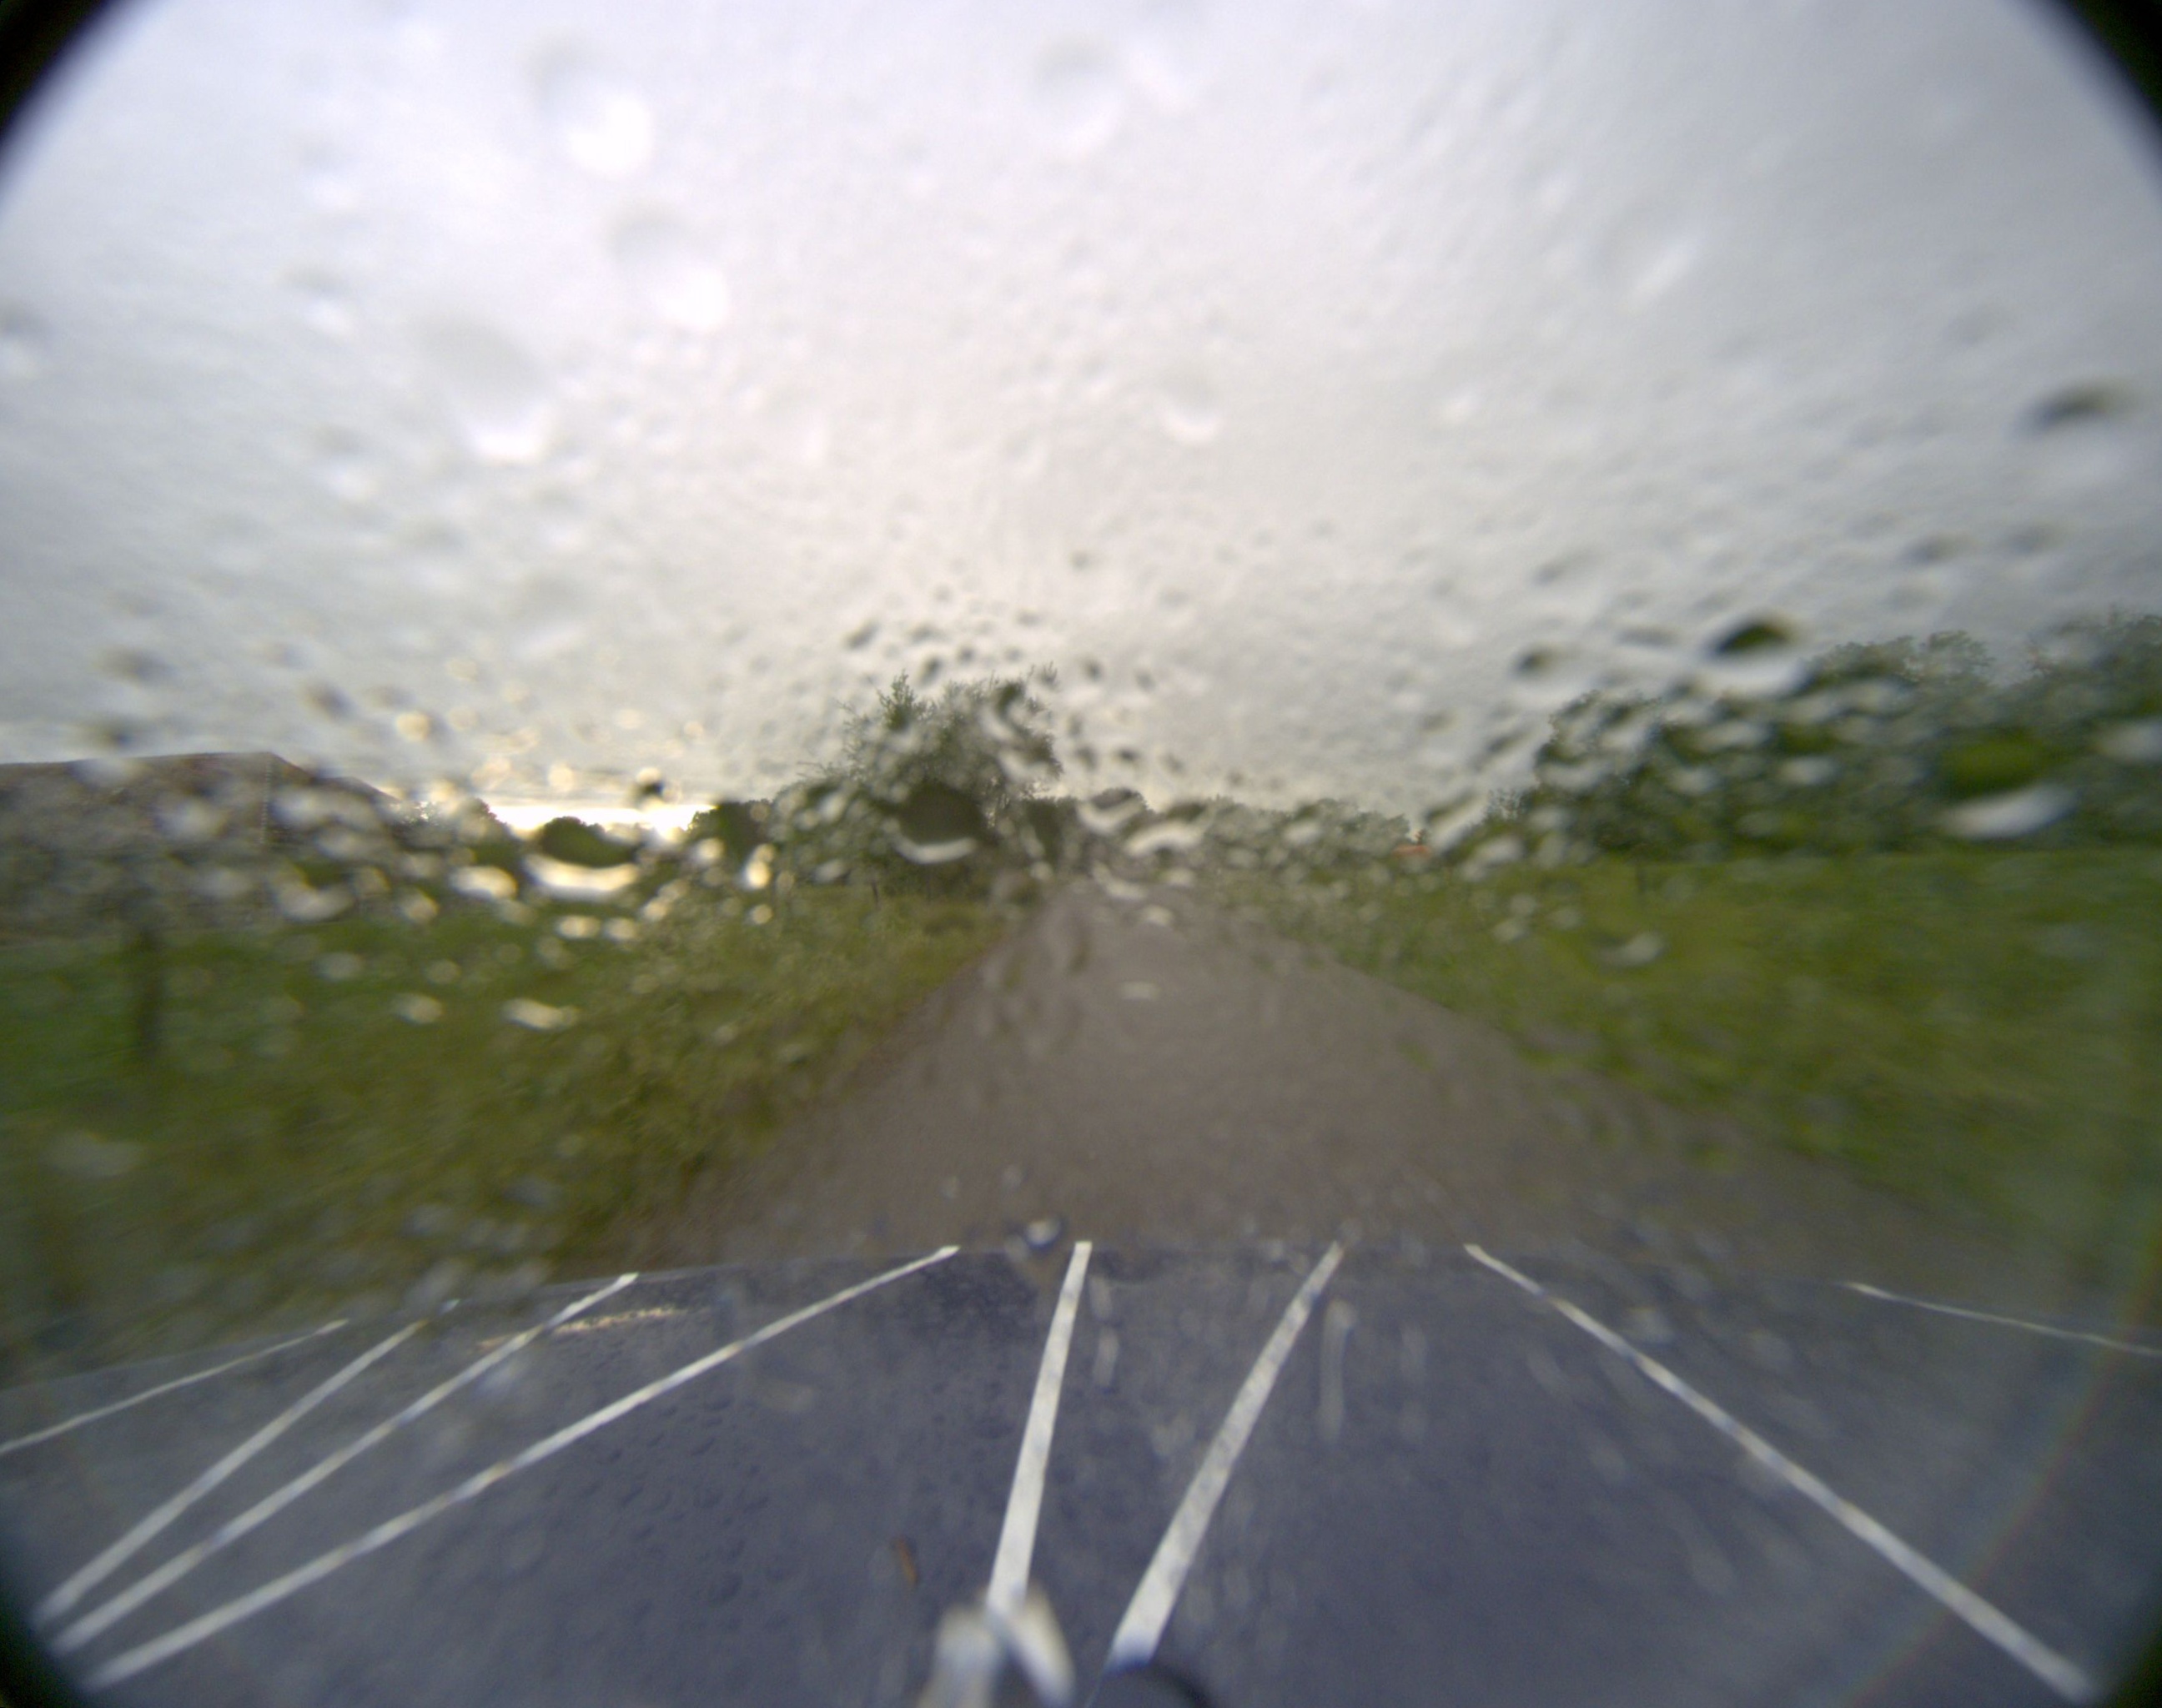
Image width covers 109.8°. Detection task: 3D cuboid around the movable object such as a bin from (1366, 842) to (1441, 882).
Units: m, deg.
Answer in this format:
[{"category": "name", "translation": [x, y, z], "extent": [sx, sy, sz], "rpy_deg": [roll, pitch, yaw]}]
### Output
[{"category": "movable object such as a bin", "translation": [14.065, 0.320, 33.337], "extent": [1.683, 1.562, 3.538], "rpy_deg": [-3, 0, 0]}]
